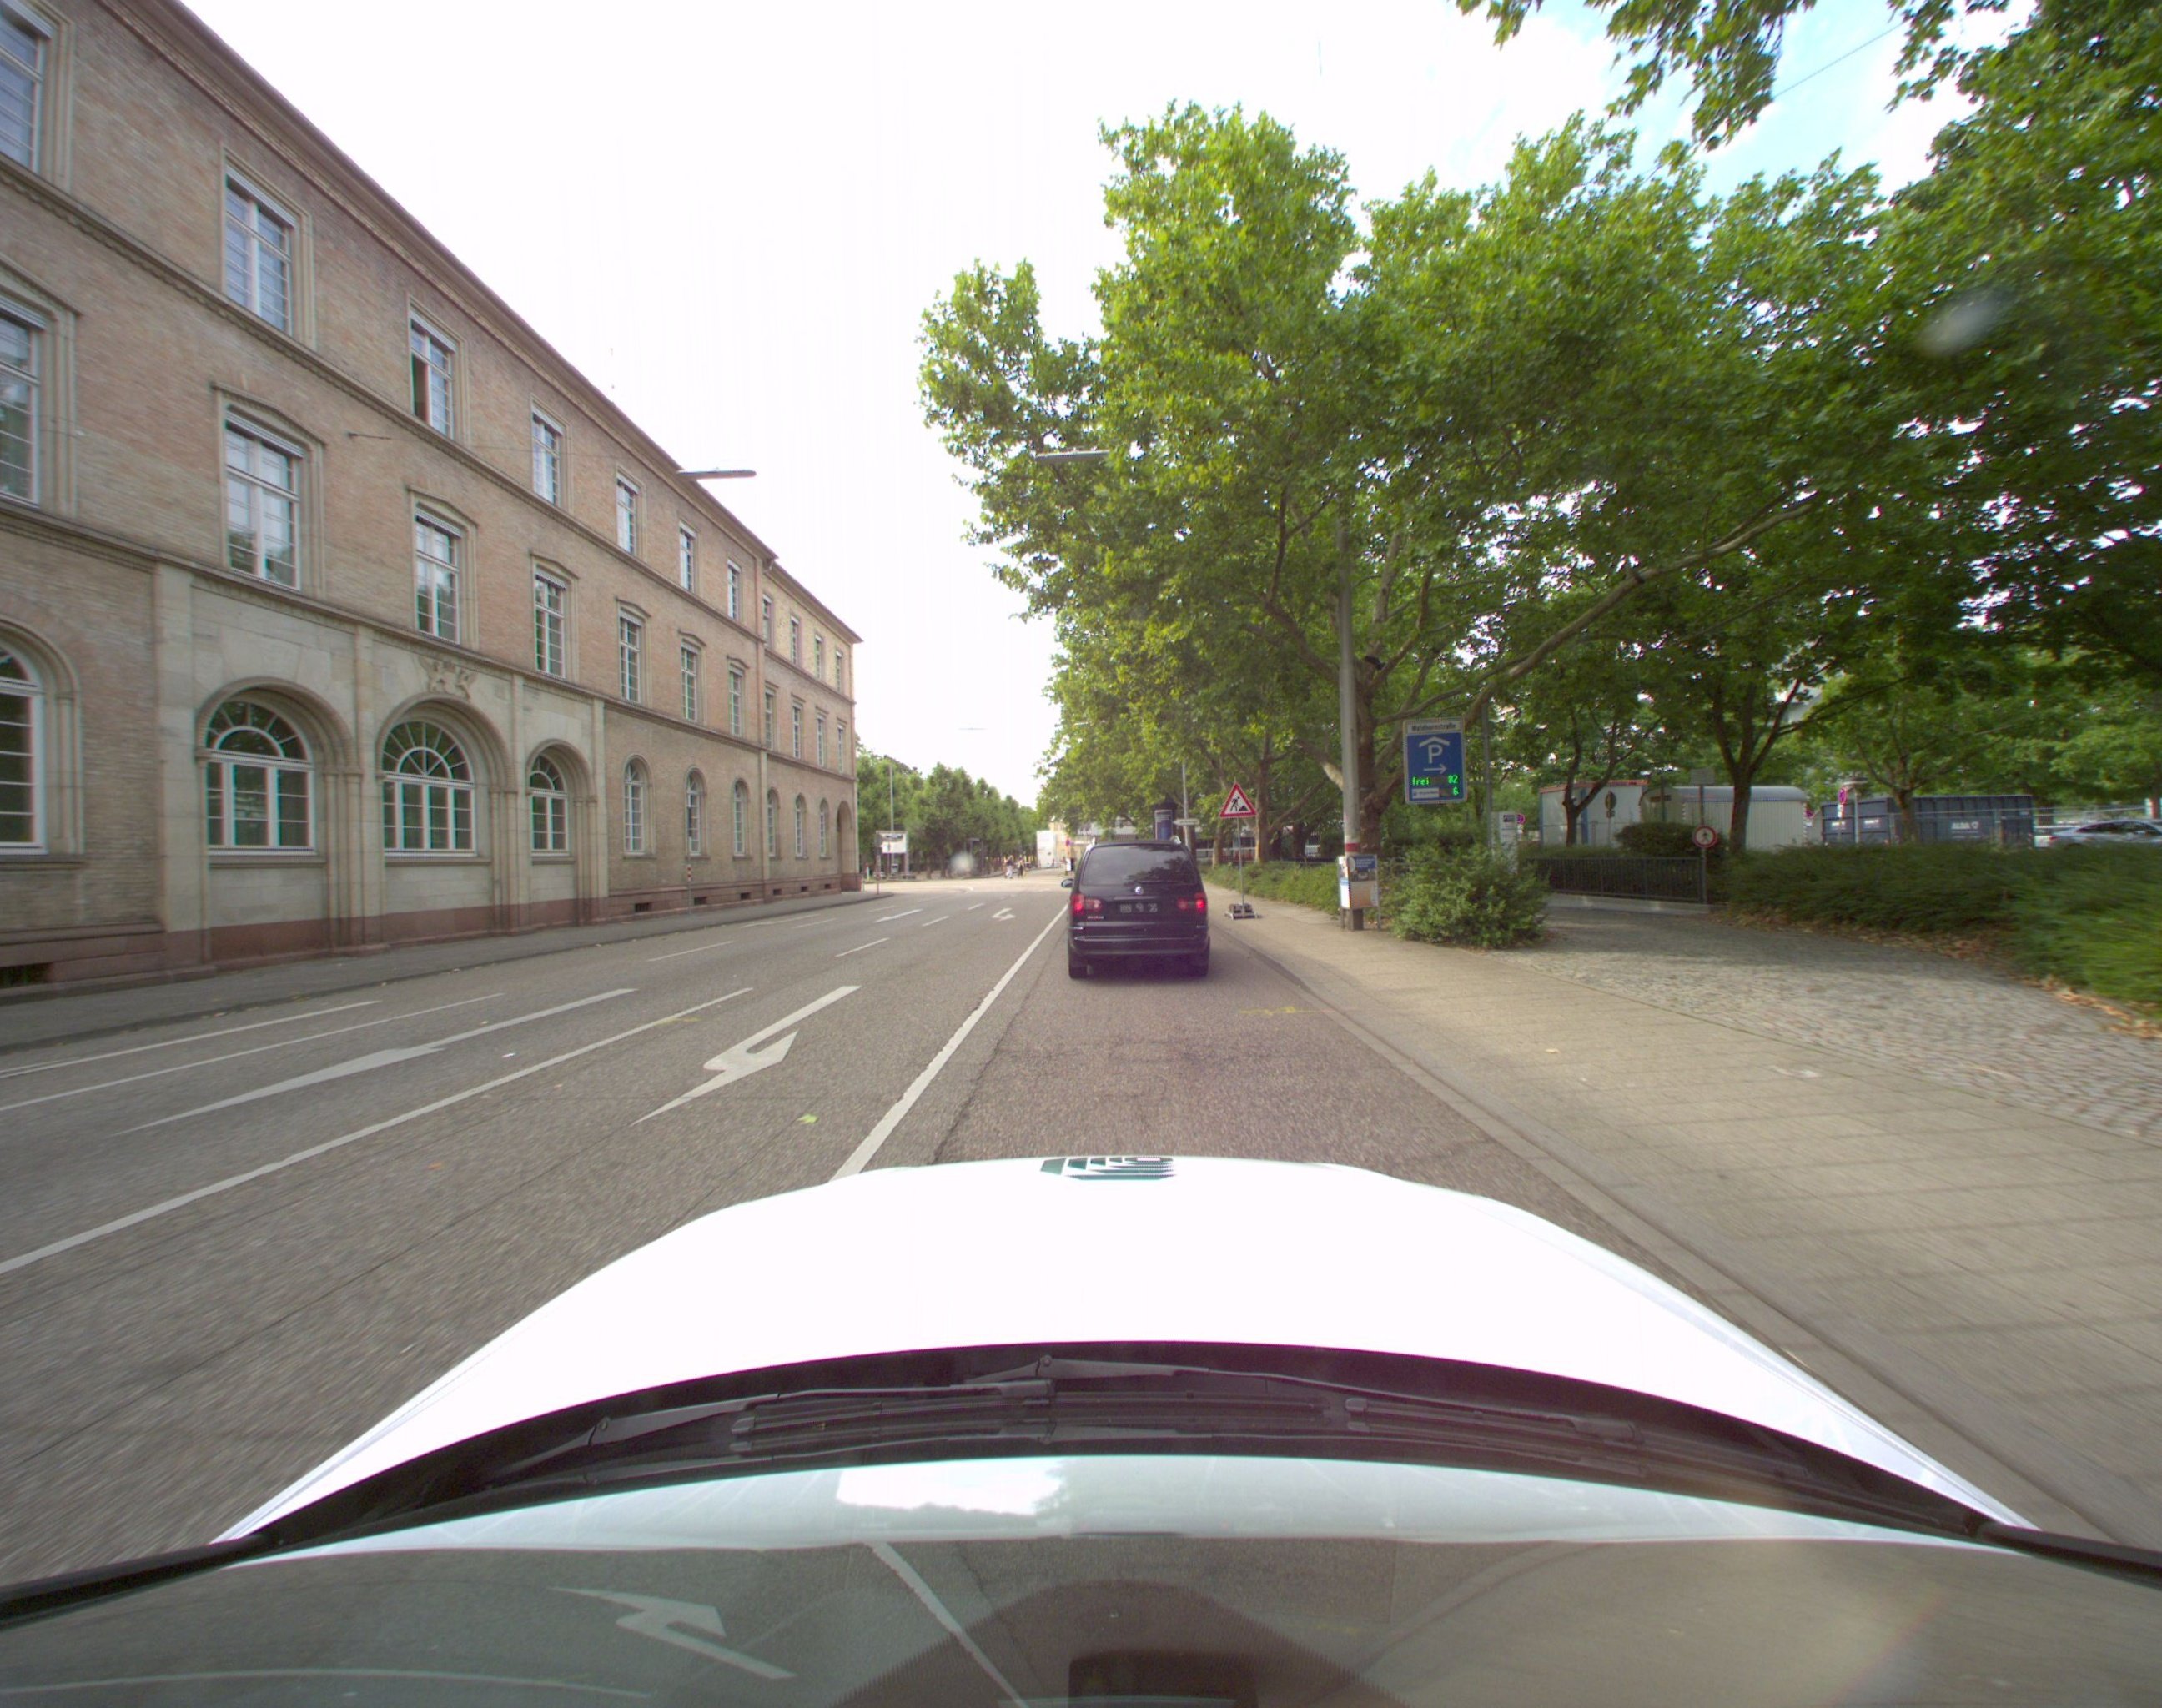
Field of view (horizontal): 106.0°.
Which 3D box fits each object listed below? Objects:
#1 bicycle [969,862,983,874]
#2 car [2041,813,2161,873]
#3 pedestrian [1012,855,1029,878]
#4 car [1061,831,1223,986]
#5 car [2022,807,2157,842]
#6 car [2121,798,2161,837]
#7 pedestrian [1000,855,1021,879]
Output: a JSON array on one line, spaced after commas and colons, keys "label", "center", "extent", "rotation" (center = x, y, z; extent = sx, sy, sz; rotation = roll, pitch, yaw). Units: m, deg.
[{"label": "bicycle", "center": [-10.062, 1.369, 78.186], "extent": [0.954, 1.110, 2.566], "rotation": [0, 0, -16]}, {"label": "car", "center": [33.116, -0.329, 24.868], "extent": [1.988, 1.794, 4.771], "rotation": [0, 0, -1]}, {"label": "pedestrian", "center": [-4.345, 0.907, 58.829], "extent": [0.887, 1.641, 0.858], "rotation": [0, 0, 37]}, {"label": "car", "center": [0.713, 0.618, 11.369], "extent": [1.787, 1.708, 4.131], "rotation": [-2, 0, 0]}, {"label": "car", "center": [49.874, -1.423, 40.404], "extent": [1.988, 1.580, 3.788], "rotation": [0, 0, -1]}, {"label": "car", "center": [57.082, -1.922, 41.519], "extent": [1.988, 2.013, 4.771], "rotation": [0, 0, -1]}, {"label": "pedestrian", "center": [-5.134, 0.925, 59.344], "extent": [0.951, 1.741, 1.263], "rotation": [0, 0, 40]}]
